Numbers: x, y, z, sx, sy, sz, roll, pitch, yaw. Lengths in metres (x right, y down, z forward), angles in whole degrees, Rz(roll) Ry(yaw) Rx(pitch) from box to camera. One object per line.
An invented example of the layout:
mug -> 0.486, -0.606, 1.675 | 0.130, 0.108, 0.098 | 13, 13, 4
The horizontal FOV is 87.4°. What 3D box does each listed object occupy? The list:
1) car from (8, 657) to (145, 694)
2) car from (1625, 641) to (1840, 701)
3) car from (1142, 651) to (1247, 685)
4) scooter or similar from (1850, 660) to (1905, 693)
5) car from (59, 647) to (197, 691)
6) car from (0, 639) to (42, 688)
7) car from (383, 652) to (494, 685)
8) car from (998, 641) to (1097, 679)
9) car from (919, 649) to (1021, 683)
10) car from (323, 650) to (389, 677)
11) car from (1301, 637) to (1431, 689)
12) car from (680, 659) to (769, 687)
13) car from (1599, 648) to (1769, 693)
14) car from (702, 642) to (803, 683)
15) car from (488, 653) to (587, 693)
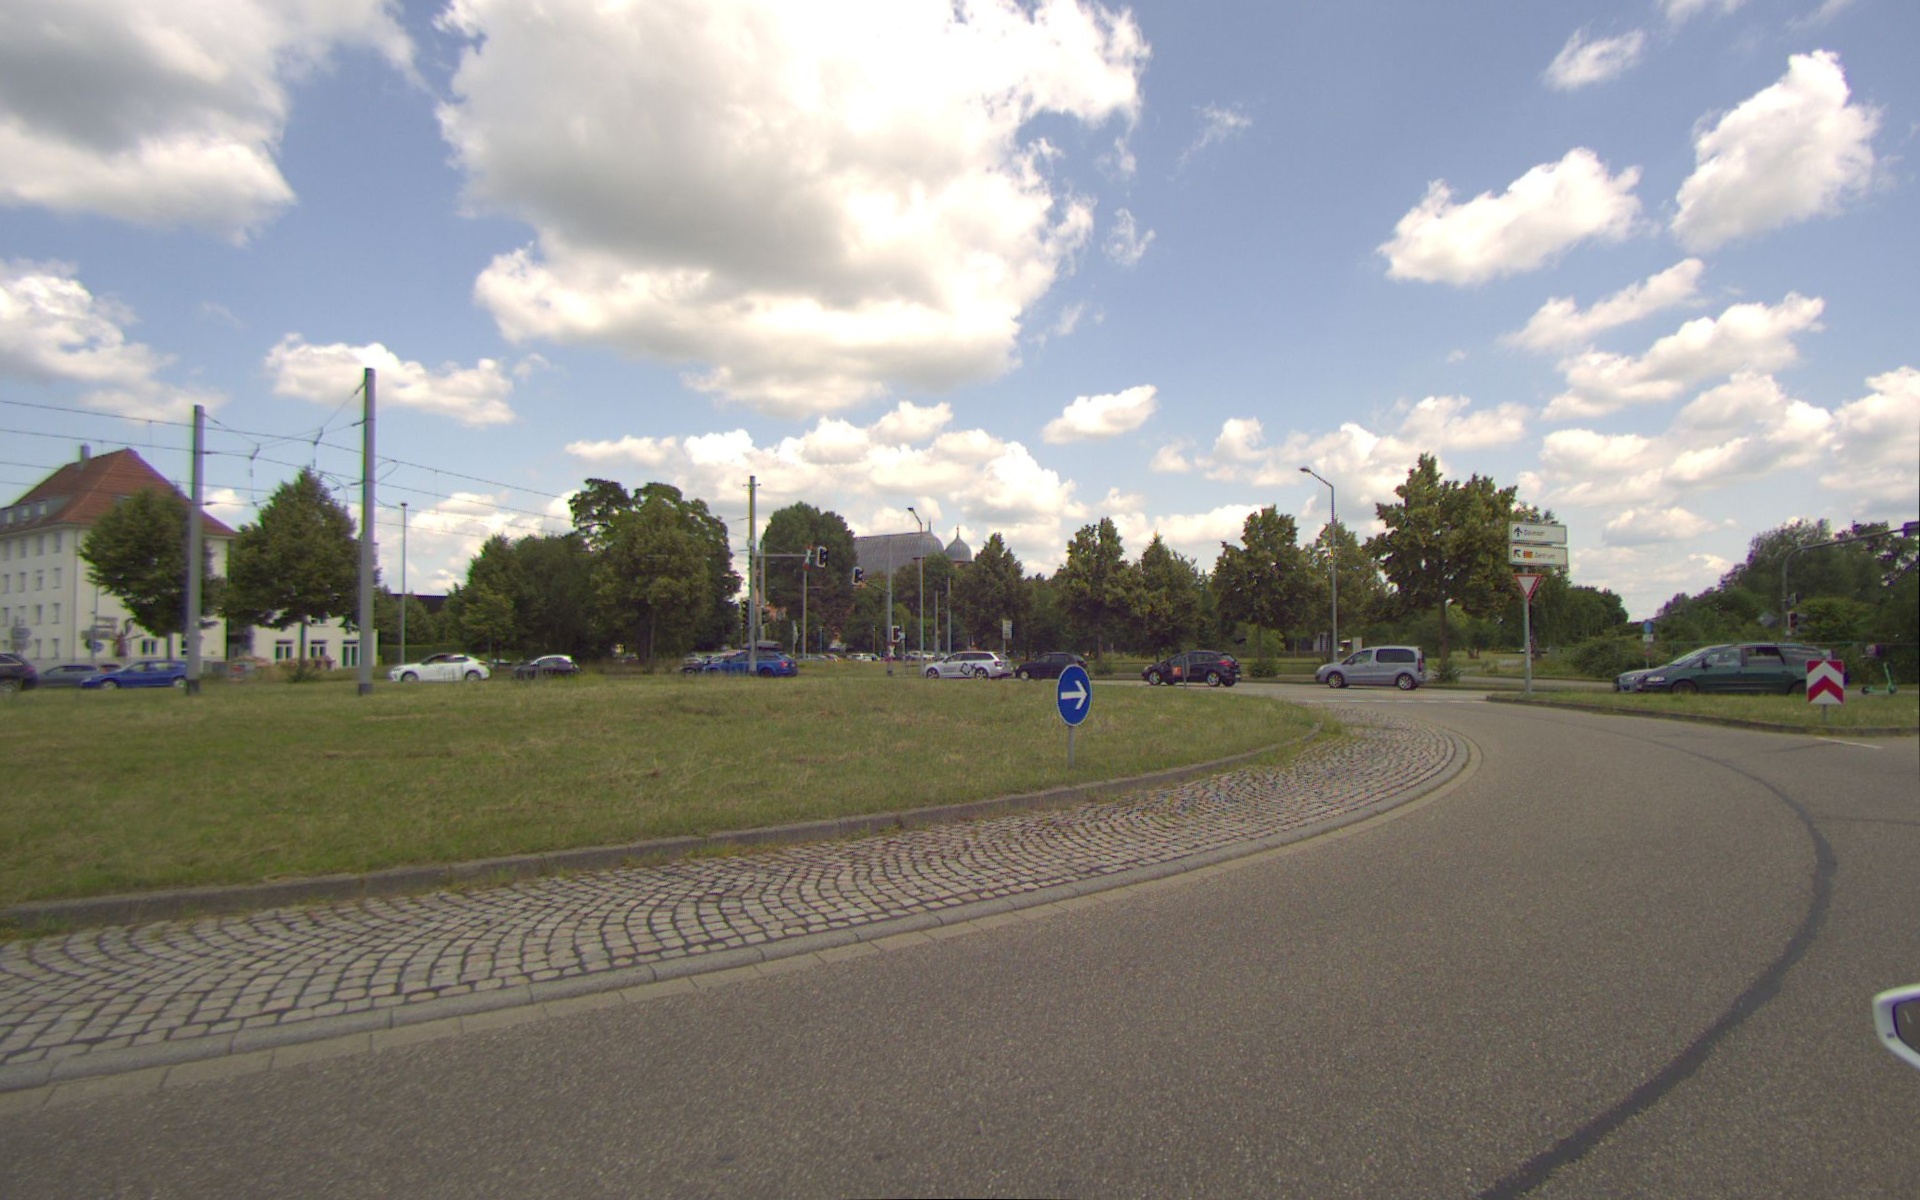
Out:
car -> -44.714, 3.787, 50.930 | 4.851, 1.648, 2.064 | -1, -1, -7
car -> 22.078, 2.003, 28.958 | 4.503, 1.613, 1.914 | -1, -3, 21
car -> 9.816, 2.875, 42.155 | 3.915, 1.357, 1.797 | -4, -5, 35
scooter or similar -> 33.729, 2.808, 36.933 | 1.411, 1.181, 0.542 | -1, -2, 6
car -> -37.324, 3.052, 45.158 | 4.692, 1.814, 1.826 | 1, -3, -43
car -> -34.795, 2.194, 34.088 | 1.966, 1.696, 5.058 | -2, -3, 33
car -> -23.586, 3.086, 45.616 | 4.249, 1.347, 1.990 | 0, -2, -23
car -> 4.470, 3.070, 51.448 | 4.579, 1.844, 2.122 | -2, -2, 29
car -> 0.475, 3.156, 48.266 | 4.424, 1.541, 2.122 | -2, -2, 27
car -> -47.484, 4.982, 79.063 | 1.962, 2.040, 3.997 | -2, -2, 25
car -> 16.854, 2.579, 41.766 | 4.708, 2.040, 1.994 | -2, -3, 34
car -> -12.323, 3.817, 52.823 | 4.409, 1.340, 1.952 | 0, -2, -9
car -> 23.769, 2.305, 33.155 | 4.107, 1.441, 1.913 | -1, -3, 14
car -> -9.750, 2.932, 47.395 | 4.318, 1.822, 1.757 | -1, -2, 12
car -> -23.171, 3.982, 55.280 | 4.637, 2.040, 1.998 | -1, -2, -7
